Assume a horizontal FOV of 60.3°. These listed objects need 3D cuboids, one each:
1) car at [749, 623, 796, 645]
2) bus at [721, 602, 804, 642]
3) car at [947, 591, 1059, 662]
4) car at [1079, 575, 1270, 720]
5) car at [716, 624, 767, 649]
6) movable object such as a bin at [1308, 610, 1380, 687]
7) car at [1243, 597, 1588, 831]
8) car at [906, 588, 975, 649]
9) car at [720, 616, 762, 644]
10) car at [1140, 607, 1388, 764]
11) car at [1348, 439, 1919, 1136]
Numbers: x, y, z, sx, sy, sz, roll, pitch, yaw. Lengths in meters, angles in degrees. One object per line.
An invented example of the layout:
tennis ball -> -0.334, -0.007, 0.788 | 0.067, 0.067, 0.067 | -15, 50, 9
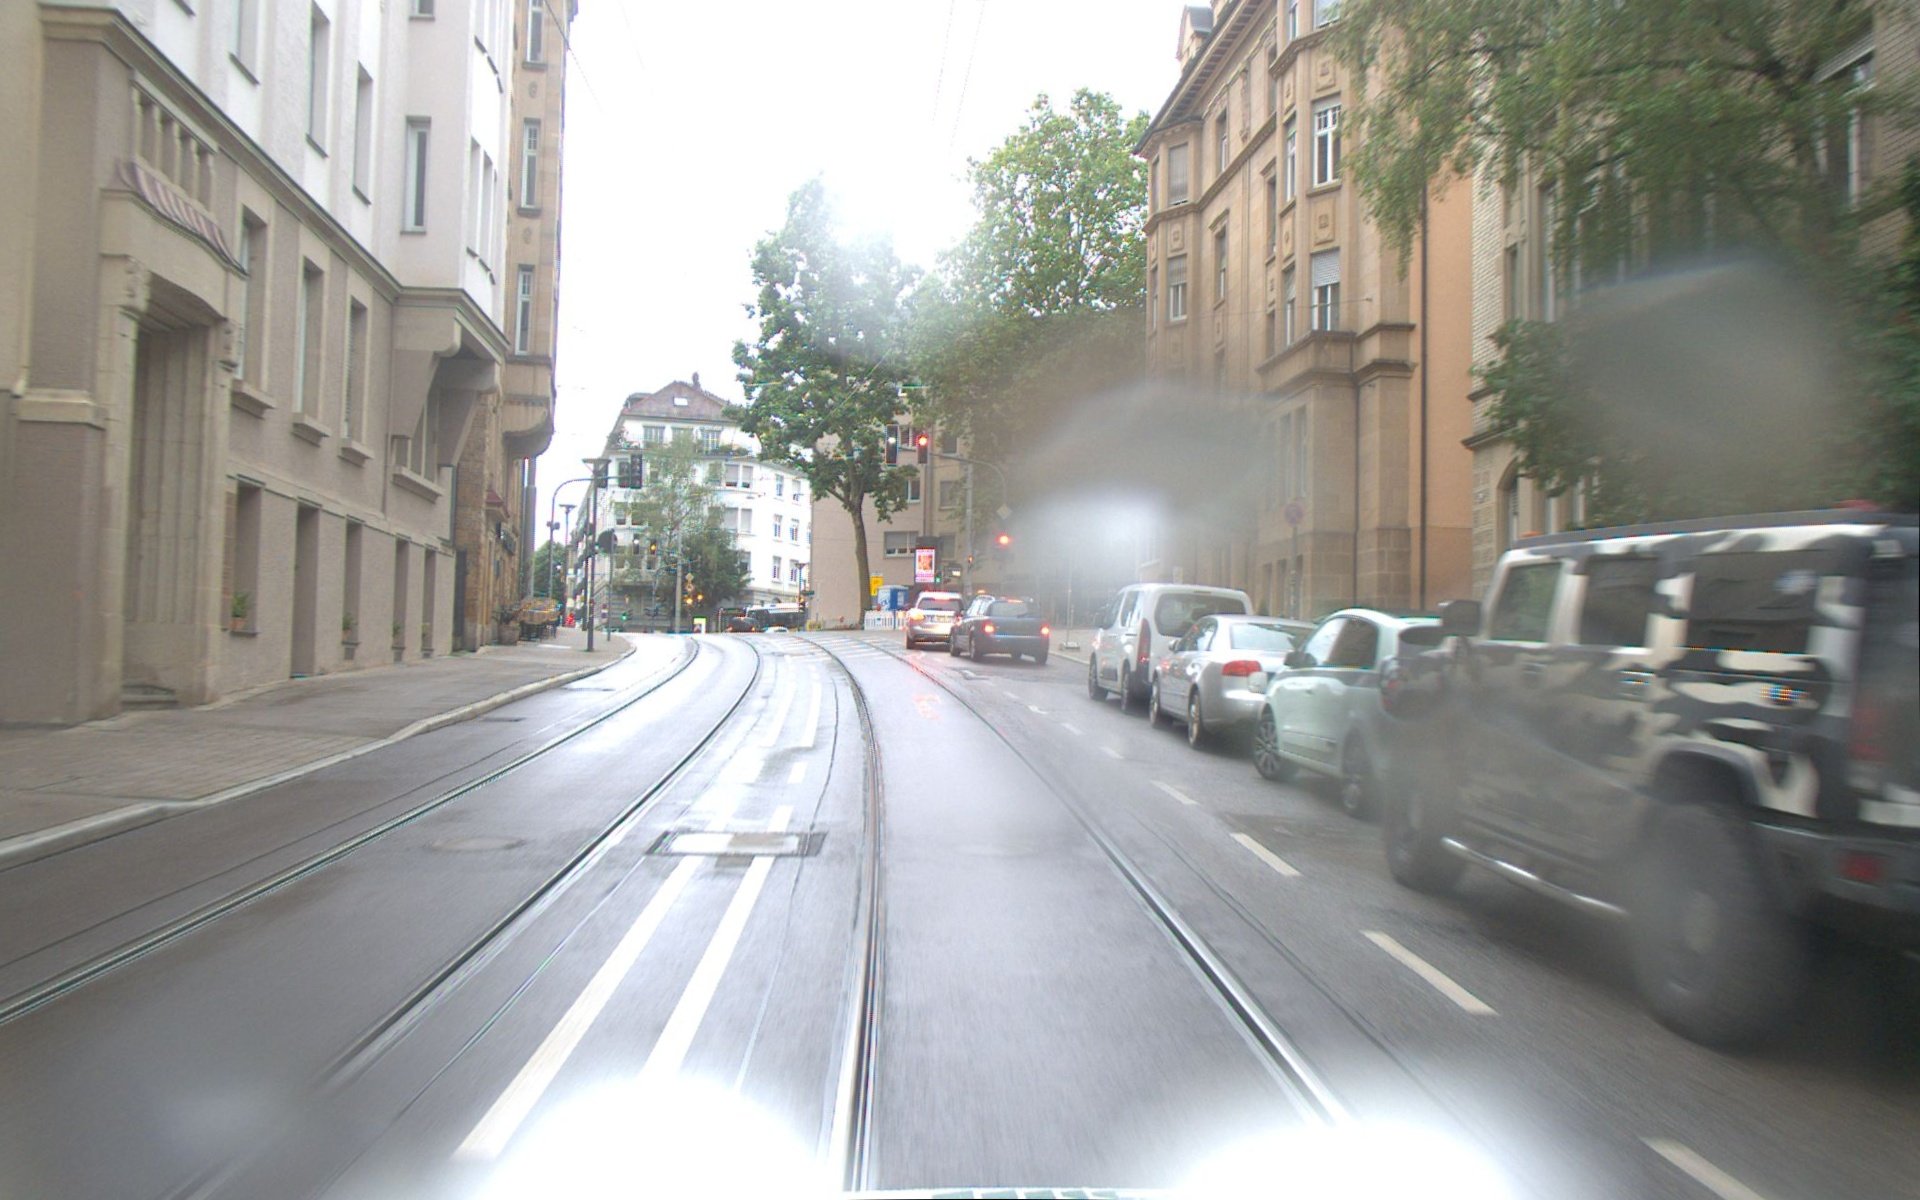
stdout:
car -> -13.719, 2.472, 121.147 | 1.758, 1.537, 3.999 | 1, 0, 22
bus -> -15.106, 1.606, 127.110 | 2.795, 2.911, 8.736 | 1, 0, 19
car -> 0.928, 0.571, 38.053 | 1.680, 1.440, 4.025 | 2, 1, -11
car -> 2.979, 0.612, 23.927 | 1.762, 1.796, 4.458 | 3, 0, -5
car -> -15.299, 2.531, 116.103 | 1.758, 1.642, 3.999 | 1, 0, 22
movable object such as a bin -> 7.850, 0.978, 33.884 | 0.953, 1.456, 1.277 | 5, -1, -7
car -> 3.574, 0.819, 13.622 | 1.530, 1.573, 3.581 | 3, 0, -5
car -> -0.549, 0.451, 43.876 | 1.676, 1.481, 3.551 | 2, 0, -2
car -> -13.226, 1.788, 100.162 | 1.756, 1.536, 4.002 | -1, 0, 4
car -> 3.276, 0.867, 18.731 | 1.714, 1.425, 4.475 | 3, 0, -3
car -> 3.663, 0.593, 7.598 | 2.087, 2.048, 5.346 | 3, 0, -4
